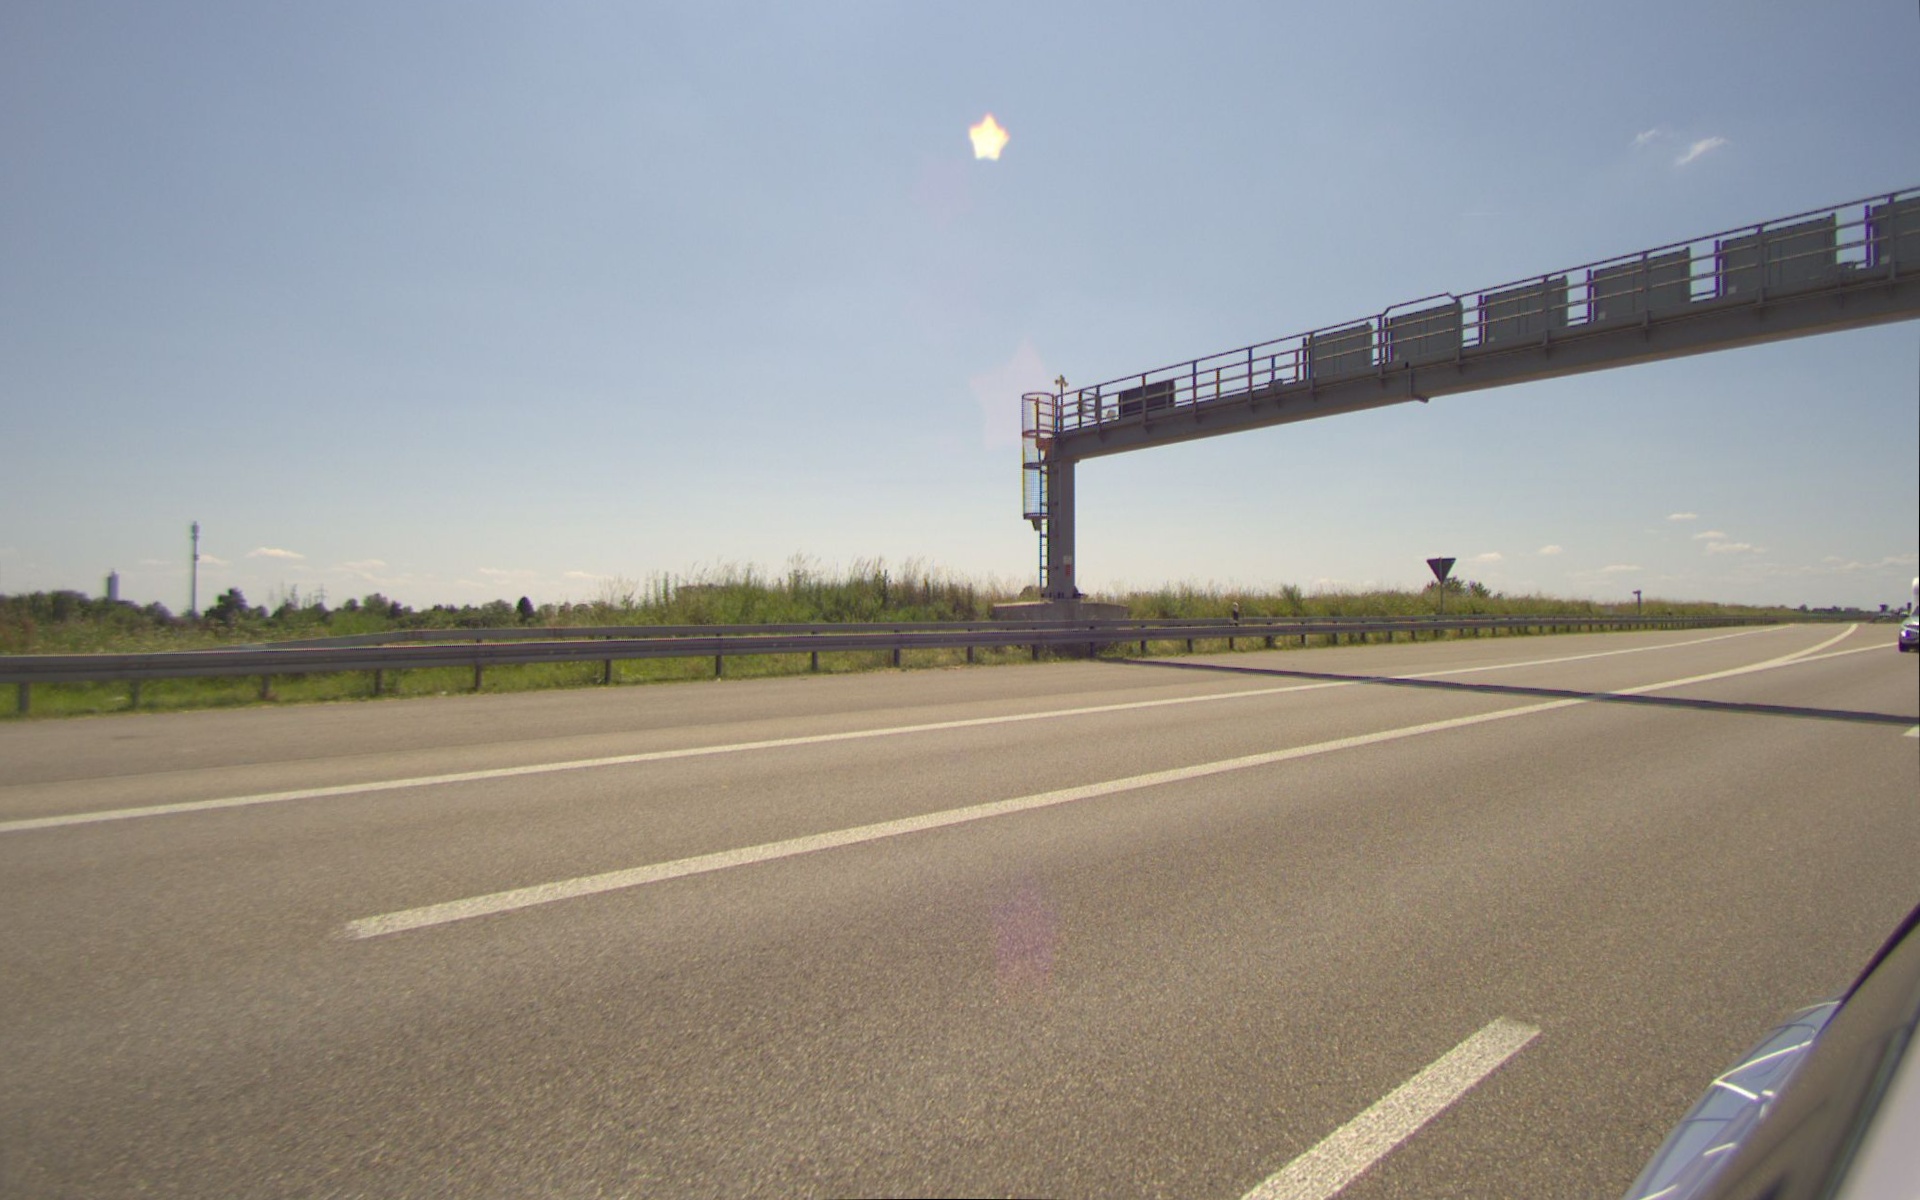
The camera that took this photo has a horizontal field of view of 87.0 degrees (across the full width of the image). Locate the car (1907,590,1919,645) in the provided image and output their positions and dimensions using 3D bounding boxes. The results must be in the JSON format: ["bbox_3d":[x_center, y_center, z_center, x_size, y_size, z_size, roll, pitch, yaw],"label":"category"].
[{"bbox_3d":[31.572,0.520,32.031,4.818,1.643,1.884,-1,1,-41],"label":"car"}]

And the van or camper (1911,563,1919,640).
[{"bbox_3d":[36.217,0.017,36.167,7.681,2.625,2.517,-1,1,-41],"label":"van or camper"}]
